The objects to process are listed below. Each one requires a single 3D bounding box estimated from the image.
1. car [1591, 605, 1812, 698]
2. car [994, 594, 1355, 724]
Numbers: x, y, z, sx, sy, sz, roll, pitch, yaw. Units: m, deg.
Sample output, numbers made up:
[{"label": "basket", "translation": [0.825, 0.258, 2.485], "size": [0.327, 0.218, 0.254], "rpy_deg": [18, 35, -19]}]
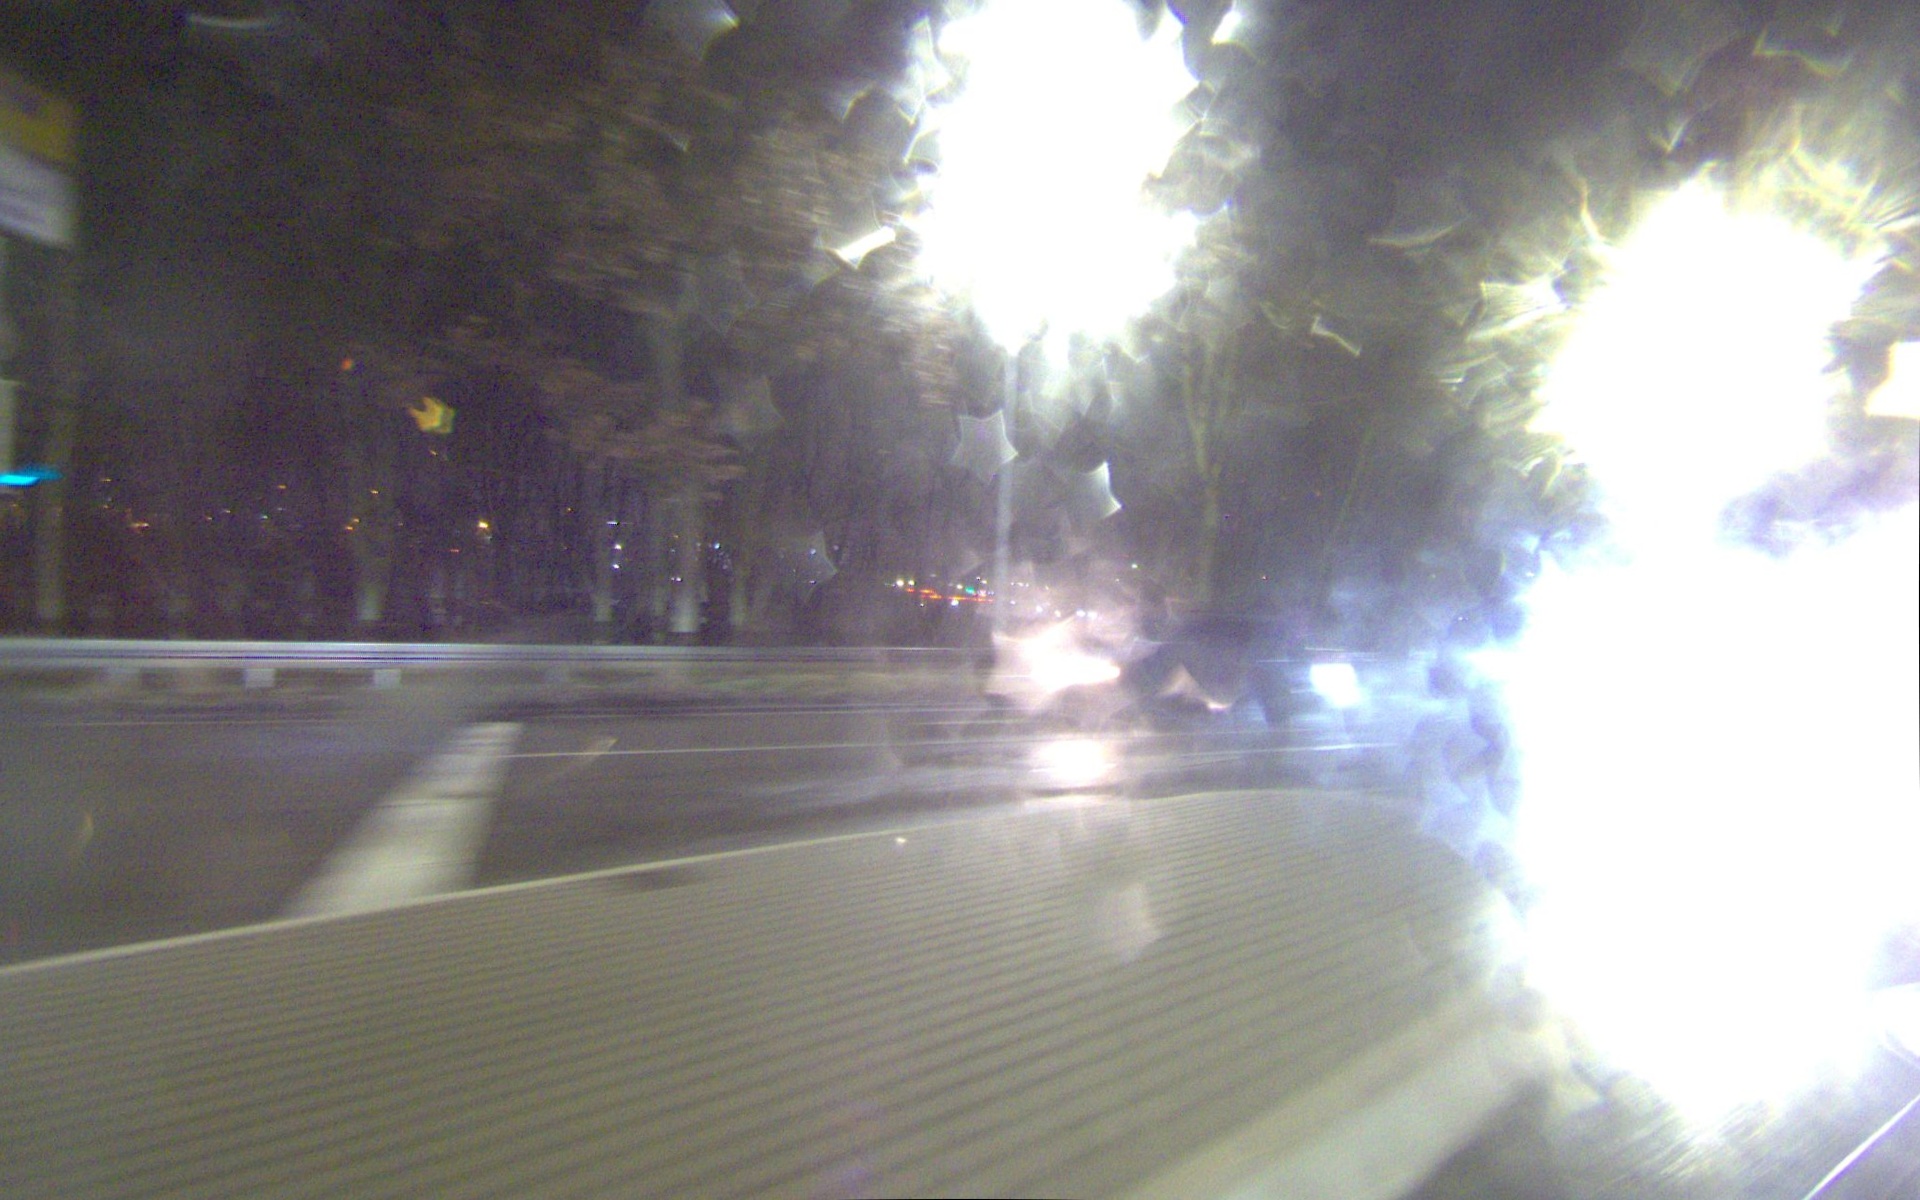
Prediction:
[{"label": "car", "translation": [14.579, 0.957, 19.678], "size": [4.607, 1.628, 1.871], "rpy_deg": [1, 0, -31]}, {"label": "car", "translation": [2.947, 0.811, 13.721], "size": [4.597, 1.467, 1.818], "rpy_deg": [3, 1, -24]}]
